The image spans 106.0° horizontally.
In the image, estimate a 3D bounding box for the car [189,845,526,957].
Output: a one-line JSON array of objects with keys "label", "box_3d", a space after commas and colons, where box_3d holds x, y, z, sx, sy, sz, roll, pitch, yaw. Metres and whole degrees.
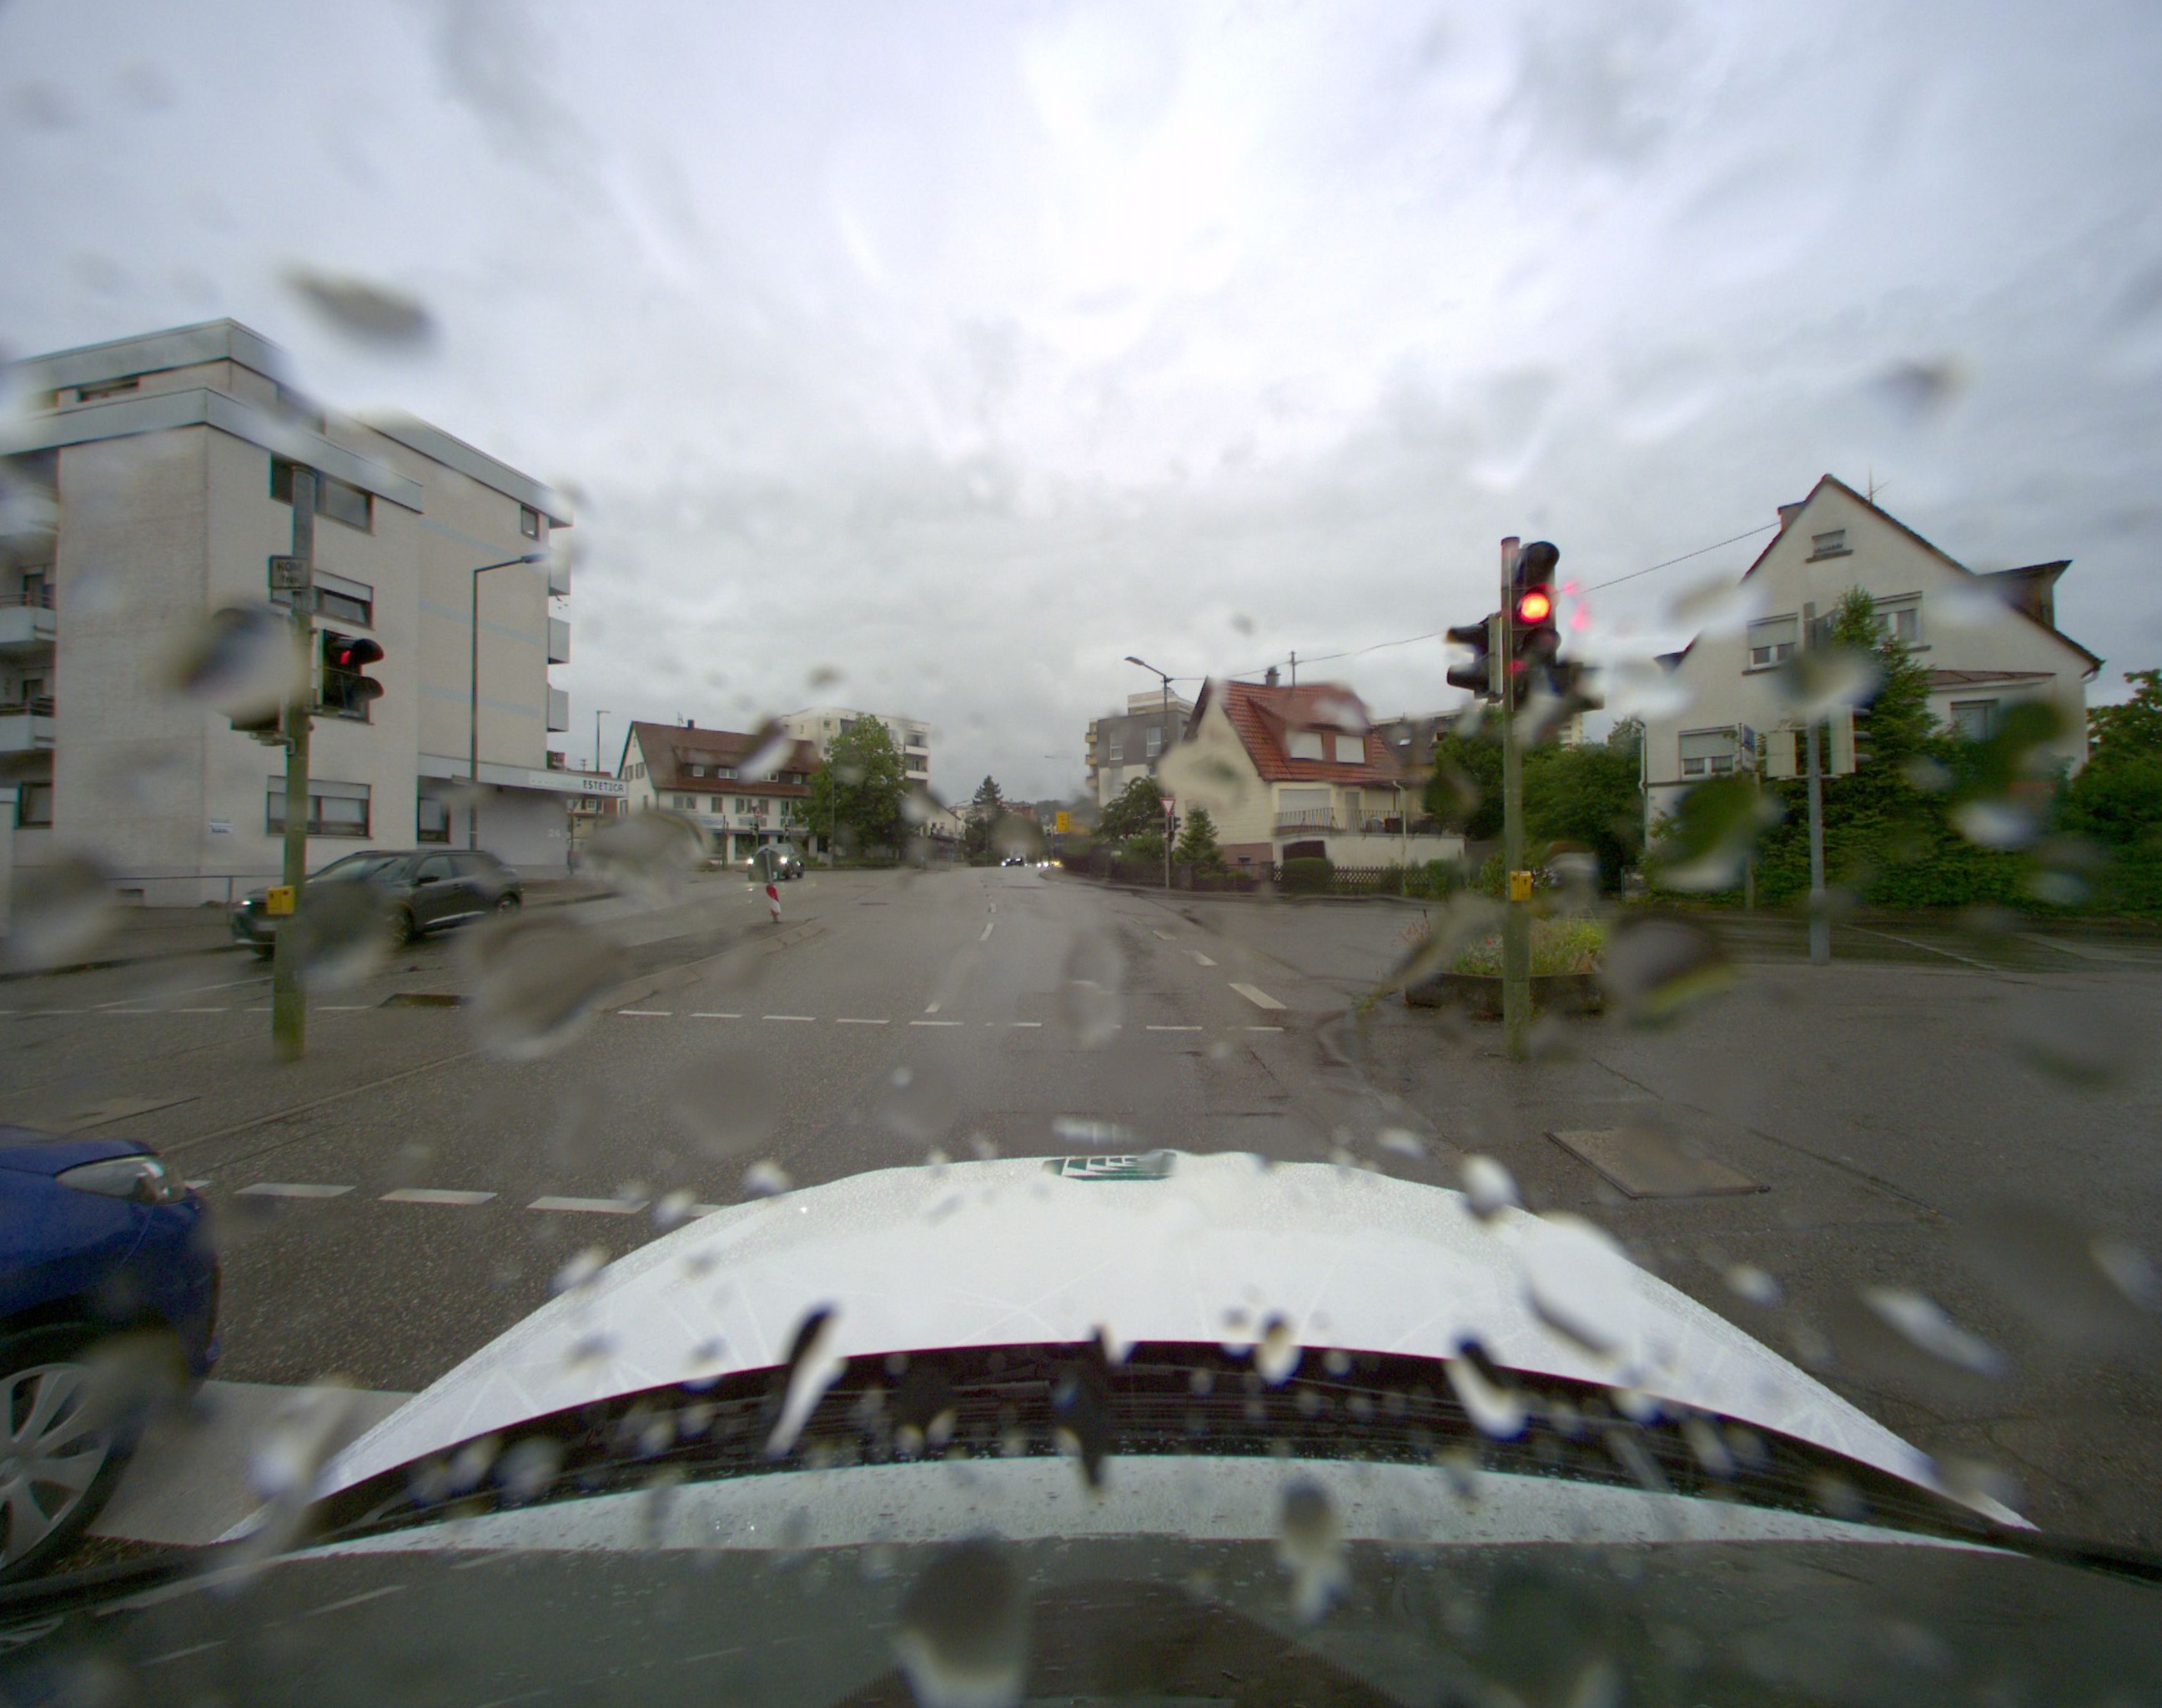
[{"label": "car", "box_3d": [-11.215, 0.624, 13.103, 1.963, 1.512, 3.995, 0, 0, -3]}]

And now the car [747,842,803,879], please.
[{"label": "car", "box_3d": [-14.032, 0.288, 37.528, 1.881, 1.597, 4.165, 0, -1, -13]}]

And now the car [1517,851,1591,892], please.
[{"label": "car", "box_3d": [17.103, 0.604, 29.372, 1.794, 1.362, 4.025, -1, -1, 37]}]

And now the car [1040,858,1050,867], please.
[{"label": "car", "box_3d": [-7.333, 1.735, 167.496, 1.989, 1.679, 3.996, 0, -1, -3]}]

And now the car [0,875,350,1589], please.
[{"label": "car", "box_3d": [-2.957, 0.781, 0.724, 1.499, 1.413, 3.365, 0, 0, 2]}]

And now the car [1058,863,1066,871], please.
[{"label": "car", "box_3d": [-4.759, 3.236, 205.349, 1.989, 1.812, 3.996, 0, -1, -3]}]

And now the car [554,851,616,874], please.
[{"label": "car", "box_3d": [-41.227, 0.672, 67.797, 4.093, 1.843, 1.864, 0, -1, -44]}]

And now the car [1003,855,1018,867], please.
[{"label": "car", "box_3d": [-10.387, 0.972, 120.254, 1.990, 1.737, 5.173, 0, 0, -4]}]

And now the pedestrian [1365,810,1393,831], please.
[{"label": "pedestrian", "box_3d": [12.762, -1.428, 34.856, 0.918, 0.883, 0.632, 0, -3, -18]}]

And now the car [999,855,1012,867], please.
[{"label": "car", "box_3d": [-12.648, 1.159, 136.333, 1.989, 1.904, 3.996, 0, -1, -3]}]

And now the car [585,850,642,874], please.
[{"label": "car", "box_3d": [-38.454, 0.633, 66.974, 3.706, 1.920, 1.864, 0, -1, -44]}]
